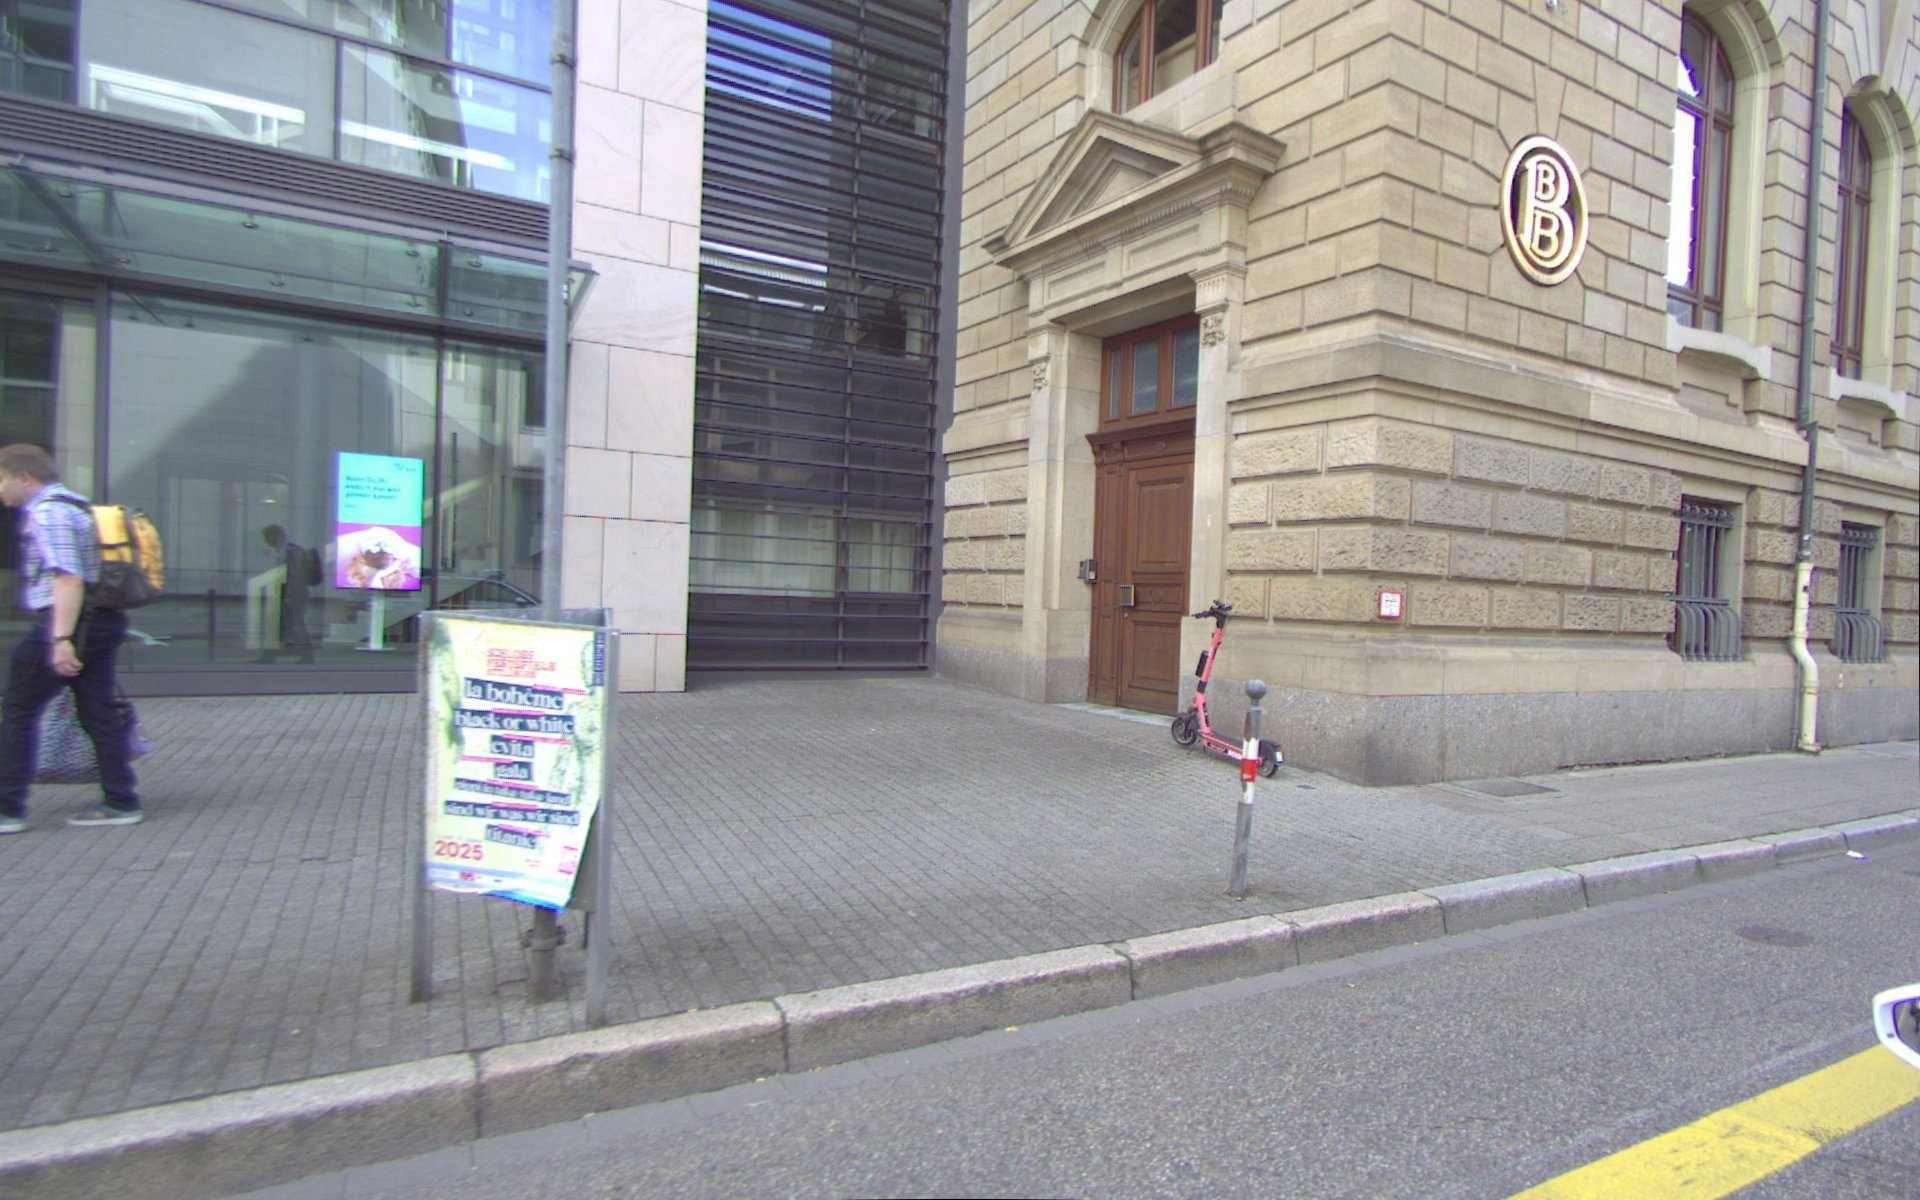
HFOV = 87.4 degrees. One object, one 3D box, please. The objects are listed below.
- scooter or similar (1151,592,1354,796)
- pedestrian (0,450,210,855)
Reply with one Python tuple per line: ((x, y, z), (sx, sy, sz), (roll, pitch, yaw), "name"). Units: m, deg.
((2.197, 0.651, 7.725), (0.580, 1.328, 1.440), (1, 4, -29), "scooter or similar")
((-4.229, 0.209, 4.826), (0.809, 1.743, 1.021), (2, 2, -28), "pedestrian")
